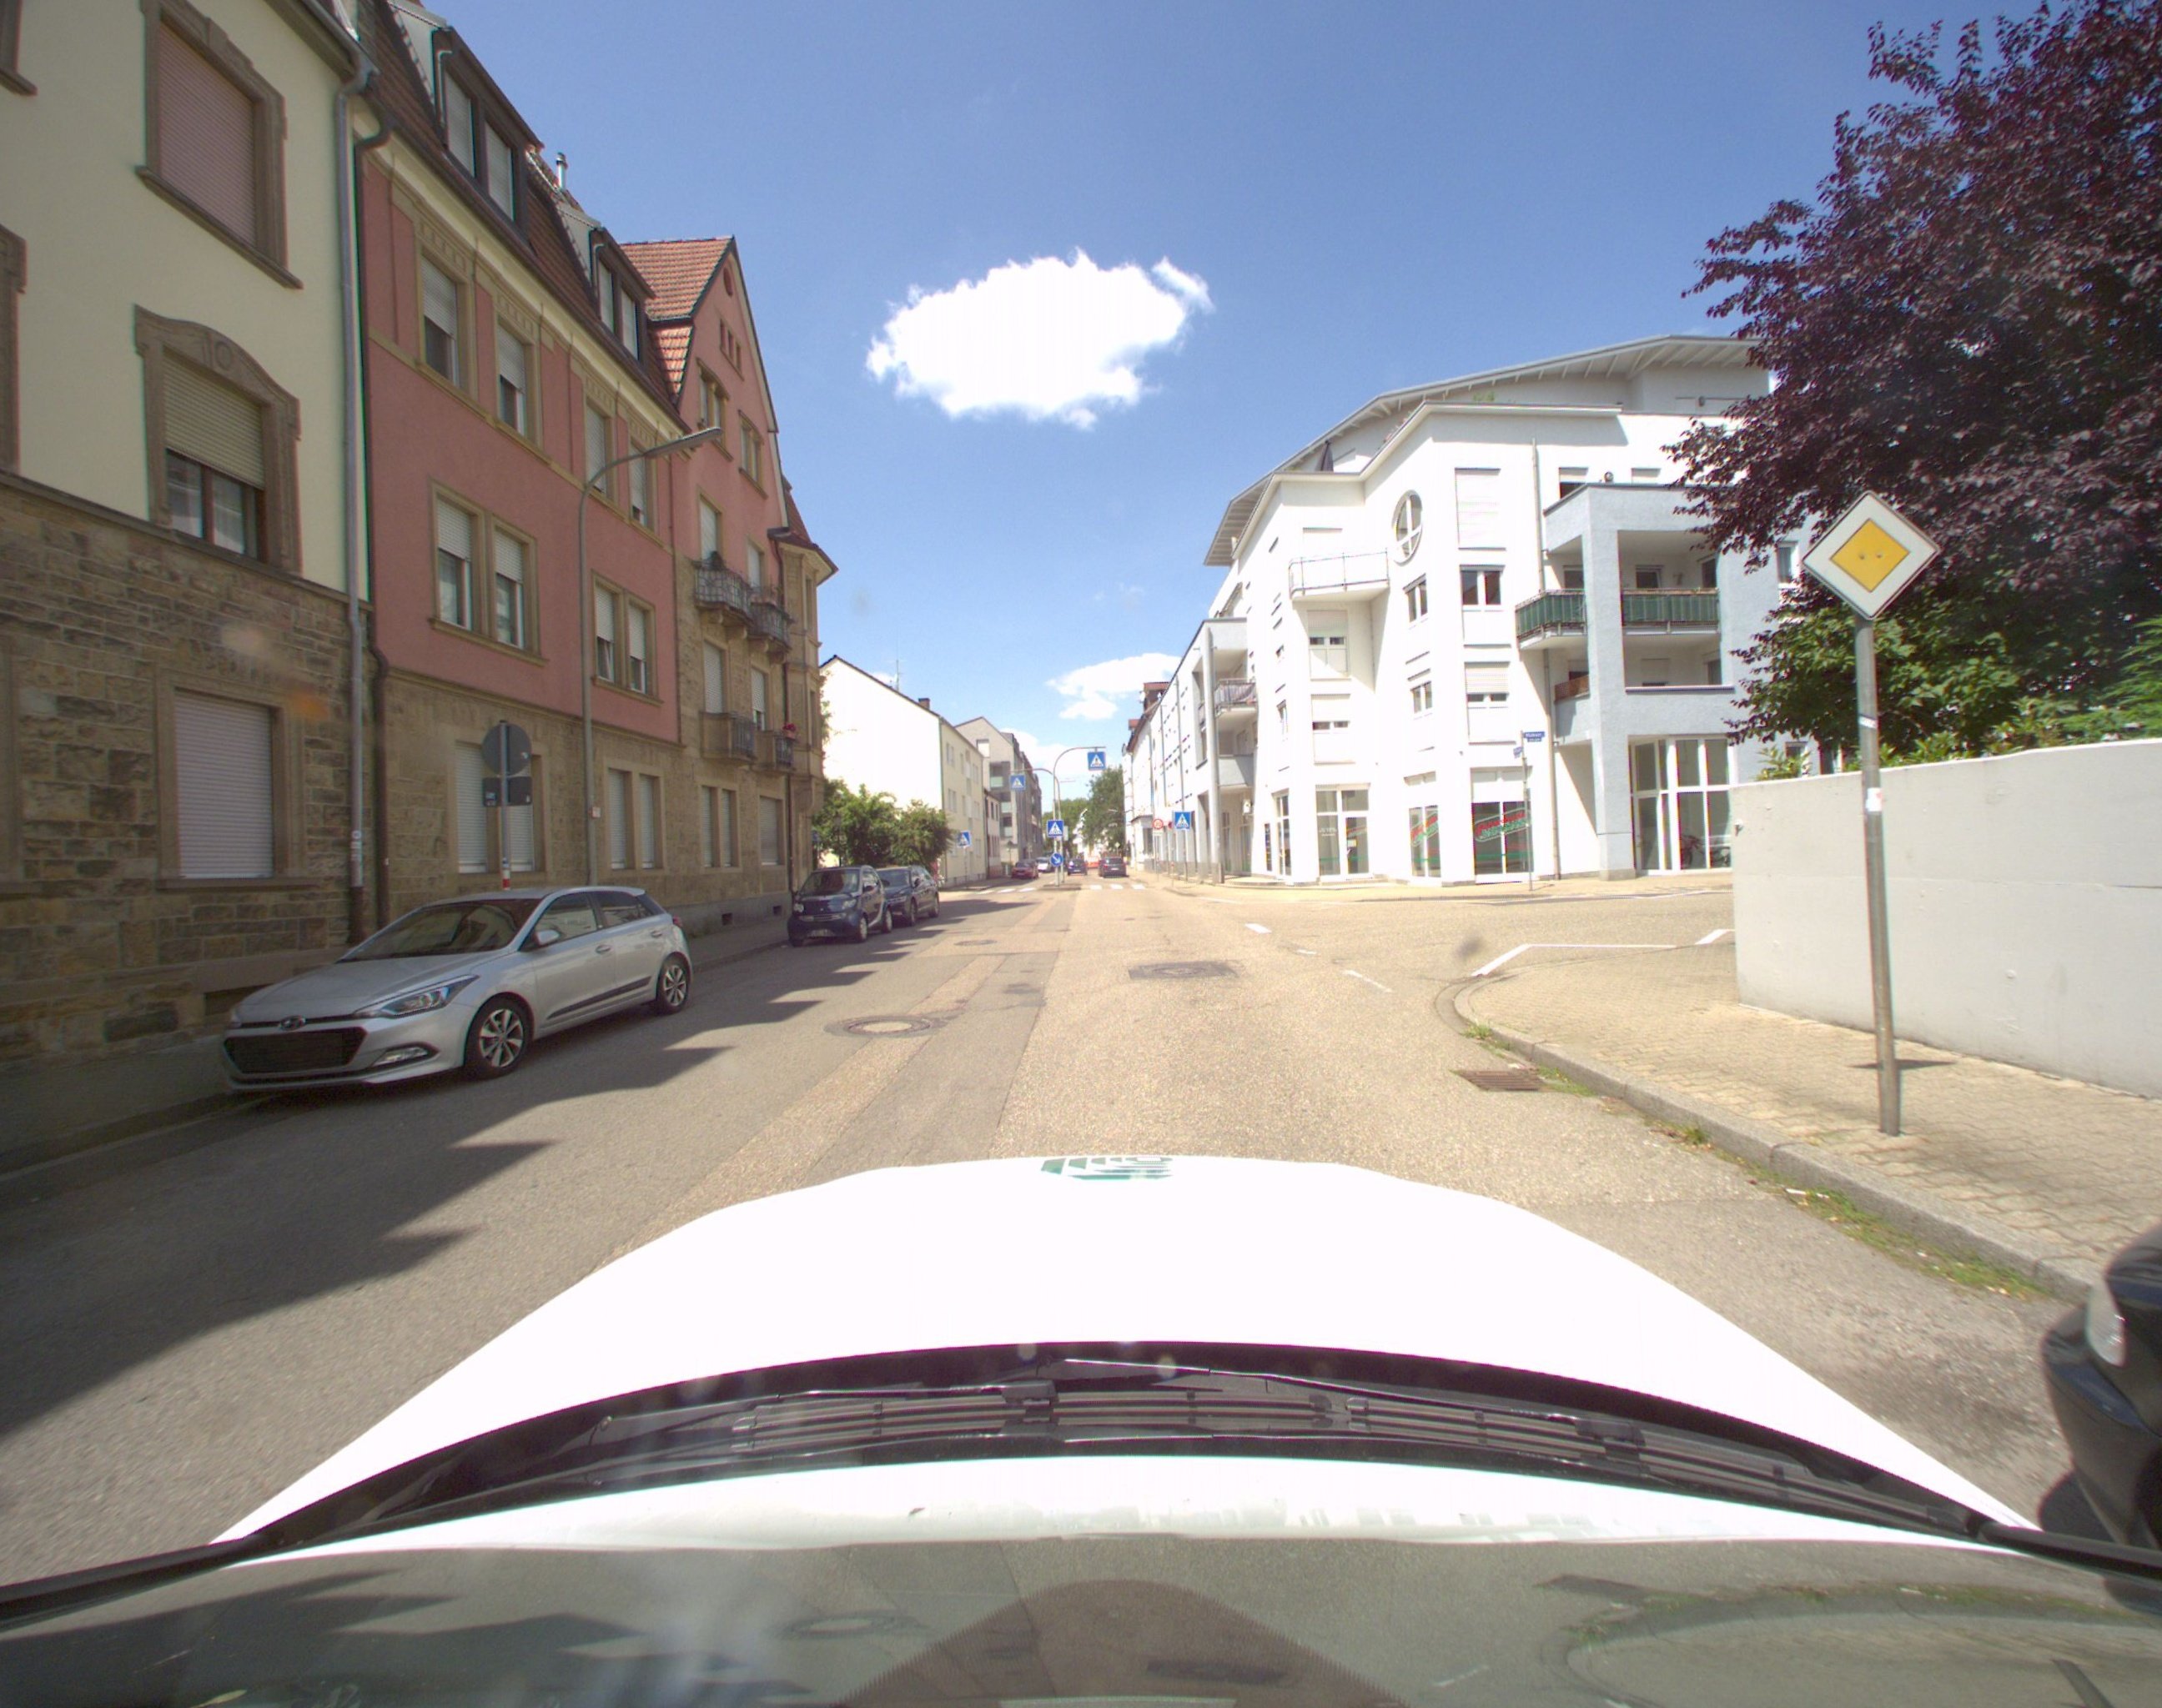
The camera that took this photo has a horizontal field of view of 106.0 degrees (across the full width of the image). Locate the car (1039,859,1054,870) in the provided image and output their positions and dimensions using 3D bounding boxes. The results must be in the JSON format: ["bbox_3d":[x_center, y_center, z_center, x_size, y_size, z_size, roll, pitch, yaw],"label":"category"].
[{"bbox_3d":[-4.533,1.376,107.885,1.717,1.456,4.006,-1,-1,1],"label":"car"}]

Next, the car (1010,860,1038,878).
[{"bbox_3d":[-4.642,1.204,66.782,1.826,1.417,4.292,-3,0,2],"label":"car"}]

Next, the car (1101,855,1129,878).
[{"bbox_3d":[2.424,0.887,59.590,1.705,1.508,3.997,-3,0,-2],"label":"car"}]

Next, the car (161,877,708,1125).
[{"bbox_3d":[-5.275,1.048,7.489,1.628,1.431,4.020,-4,0,2],"label":"car"}]

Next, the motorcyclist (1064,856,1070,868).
[{"bbox_3d":[-2.048,1.195,122.166,0.710,1.634,1.070,-3,0,3],"label":"motorcyclist"}]

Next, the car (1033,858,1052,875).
[{"bbox_3d":[-4.448,1.420,94.405,1.749,1.892,4.341,0,0,4],"label":"car"}]

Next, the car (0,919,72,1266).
[{"bbox_3d":[-5.372,1.058,1.904,1.593,1.442,3.494,-3,0,0],"label":"car"}]

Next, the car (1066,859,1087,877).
[{"bbox_3d":[-0.375,1.191,70.704,1.710,1.402,4.000,-3,0,0],"label":"car"}]

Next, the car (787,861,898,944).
[{"bbox_3d":[-4.892,0.953,17.036,1.432,1.522,2.695,-3,-1,0],"label":"car"}]

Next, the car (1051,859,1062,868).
[{"bbox_3d":[-4.338,1.706,142.536,1.727,1.442,3.998,-3,-1,-1],"label":"car"}]

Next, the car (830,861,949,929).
[{"bbox_3d":[-4.828,0.971,21.239,1.776,1.458,4.636,-3,-1,2],"label":"car"}]

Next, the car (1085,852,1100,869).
[{"bbox_3d":[1.455,0.840,103.526,1.833,2.013,4.000,-3,0,0],"label":"car"}]
